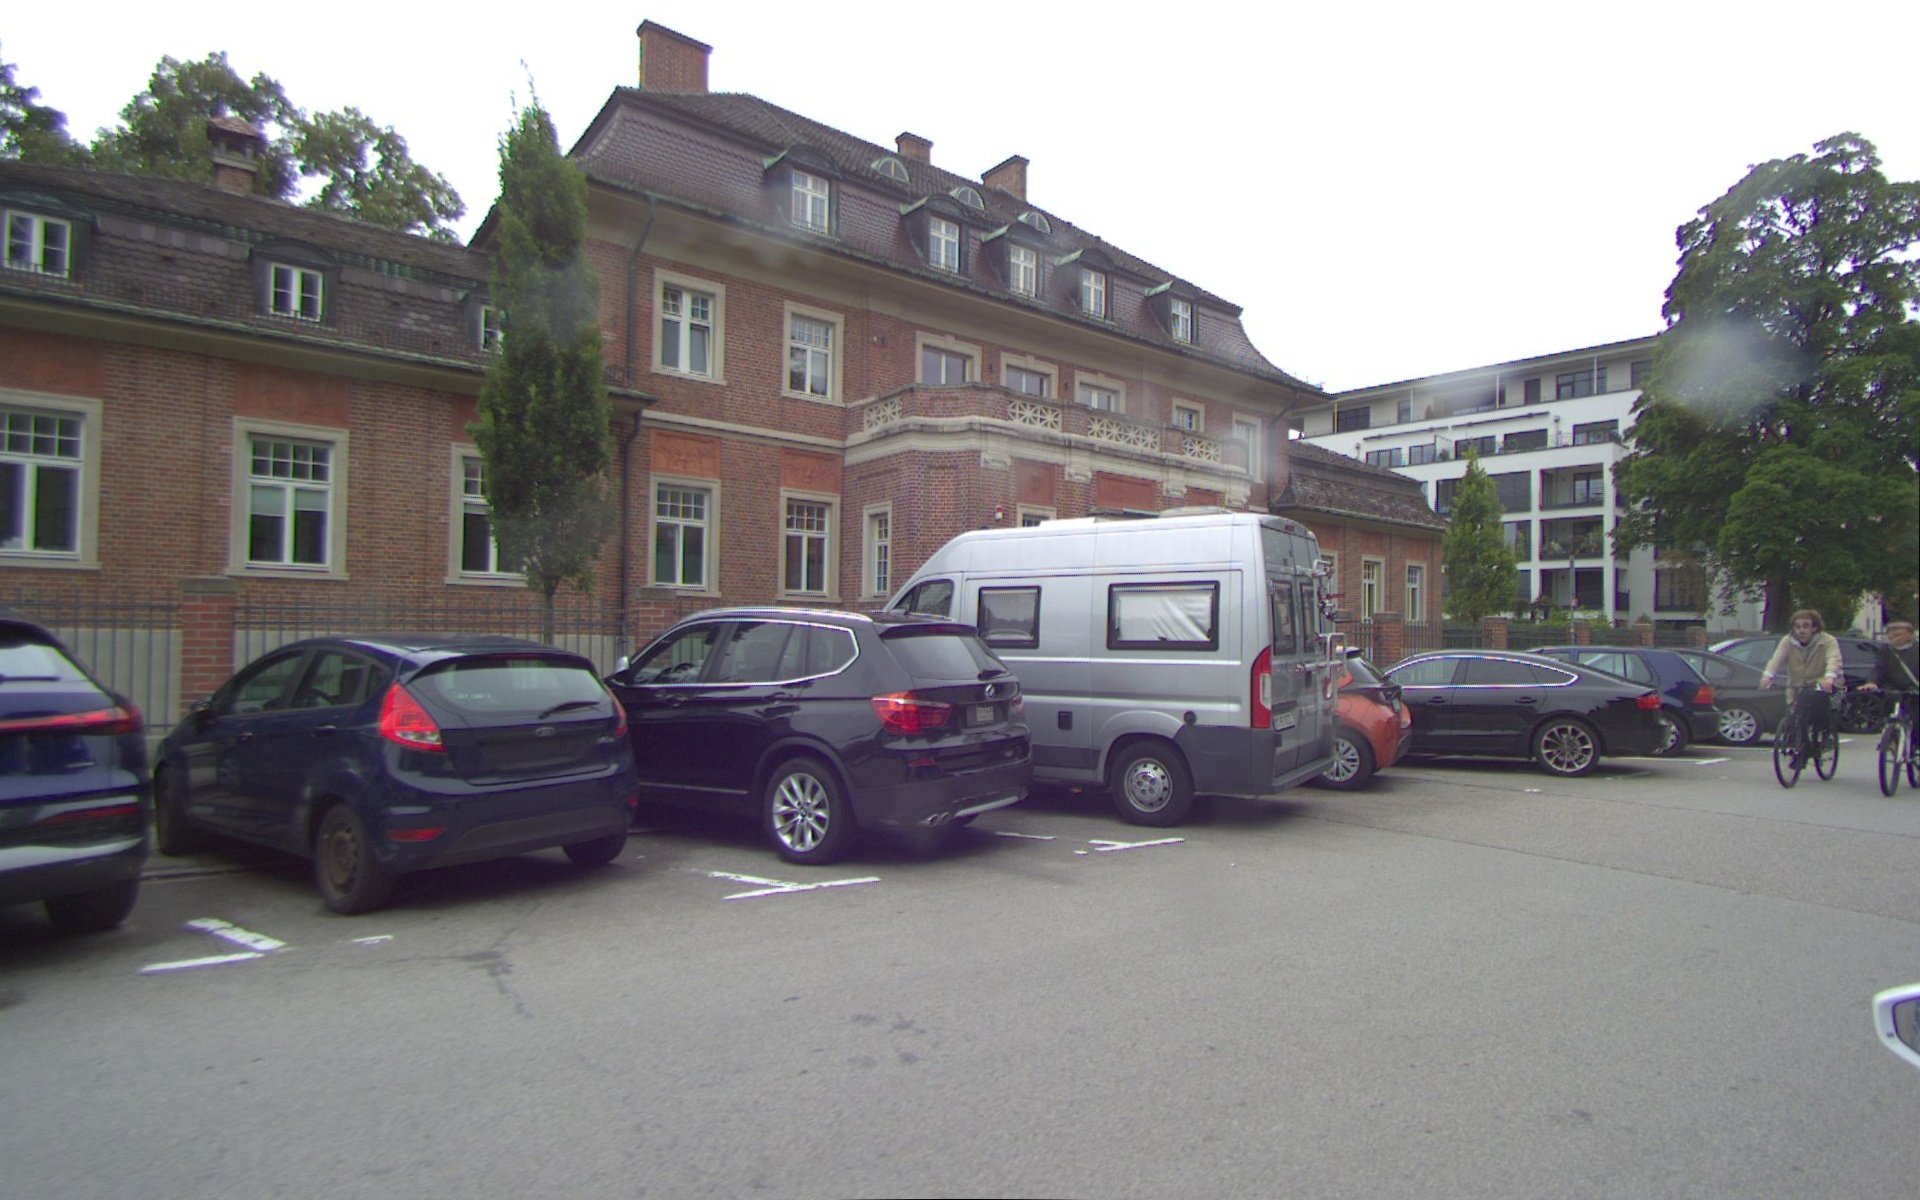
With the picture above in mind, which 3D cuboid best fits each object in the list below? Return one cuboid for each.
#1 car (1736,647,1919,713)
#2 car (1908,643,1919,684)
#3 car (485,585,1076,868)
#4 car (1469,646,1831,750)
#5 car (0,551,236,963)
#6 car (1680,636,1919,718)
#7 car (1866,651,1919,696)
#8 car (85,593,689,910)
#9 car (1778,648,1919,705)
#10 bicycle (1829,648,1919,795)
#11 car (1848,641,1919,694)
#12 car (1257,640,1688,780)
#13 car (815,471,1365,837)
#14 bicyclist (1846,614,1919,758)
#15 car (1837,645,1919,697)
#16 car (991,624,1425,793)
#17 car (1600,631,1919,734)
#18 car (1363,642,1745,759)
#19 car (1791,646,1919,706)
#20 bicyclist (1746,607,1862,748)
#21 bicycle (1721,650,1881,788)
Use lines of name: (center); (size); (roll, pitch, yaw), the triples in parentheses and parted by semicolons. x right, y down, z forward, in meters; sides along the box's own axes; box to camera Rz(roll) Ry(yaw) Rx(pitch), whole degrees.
car: (21.645, 1.895, 24.258); (4.313, 1.470, 1.656); (0, -2, 26)
car: (50.524, 3.206, 50.216); (4.134, 2.093, 1.738); (-1, -3, 18)
car: (-1.525, 0.854, 7.934); (4.451, 1.646, 1.962); (-1, -5, 34)
car: (10.527, 1.463, 15.822); (4.444, 1.436, 1.926); (-1, -3, 27)
car: (-5.735, 0.659, 5.019); (4.451, 1.614, 1.960); (-2, -4, 34)
car: (18.465, 1.624, 21.701); (4.441, 1.588, 1.889); (0, -3, 25)
car: (37.293, 2.794, 37.769); (4.329, 1.642, 2.085); (0, -3, 26)
car: (-4.022, 0.834, 6.817); (4.350, 1.506, 1.828); (-2, -5, 35)
car: (25.861, 2.116, 27.891); (4.430, 1.529, 1.932); (-2, -4, 23)
bicycle: (9.468, 1.160, 9.974); (2.095, 1.323, 0.703); (2, -2, -32)
car: (32.726, 2.277, 33.369); (4.323, 1.721, 2.139); (1, -3, 15)
car: (6.196, 1.241, 12.533); (4.446, 1.470, 1.974); (-1, -3, 30)
car: (1.121, 0.468, 9.344); (4.559, 2.597, 2.228); (-1, -3, 34)
bicyclist: (9.393, 0.837, 9.952); (0.920, 1.370, 0.693); (2, -2, -32)
car: (28.784, 2.098, 29.327); (4.324, 1.458, 1.967); (1, -3, 16)
car: (2.776, 1.097, 11.514); (4.448, 1.537, 1.933); (0, -3, 32)
car: (14.419, 1.439, 18.280); (4.443, 1.686, 1.986); (-1, -4, 27)
car: (8.273, 1.355, 14.454); (4.444, 1.470, 1.819); (-1, -4, 27)
car: (24.539, 1.956, 25.882); (4.430, 1.470, 1.897); (0, -3, 23)
bicyclist: (8.925, 0.800, 10.625); (0.920, 1.415, 0.693); (2, -2, -32)
bicycle: (8.915, 1.210, 10.621); (2.095, 1.323, 0.703); (2, -2, -33)
